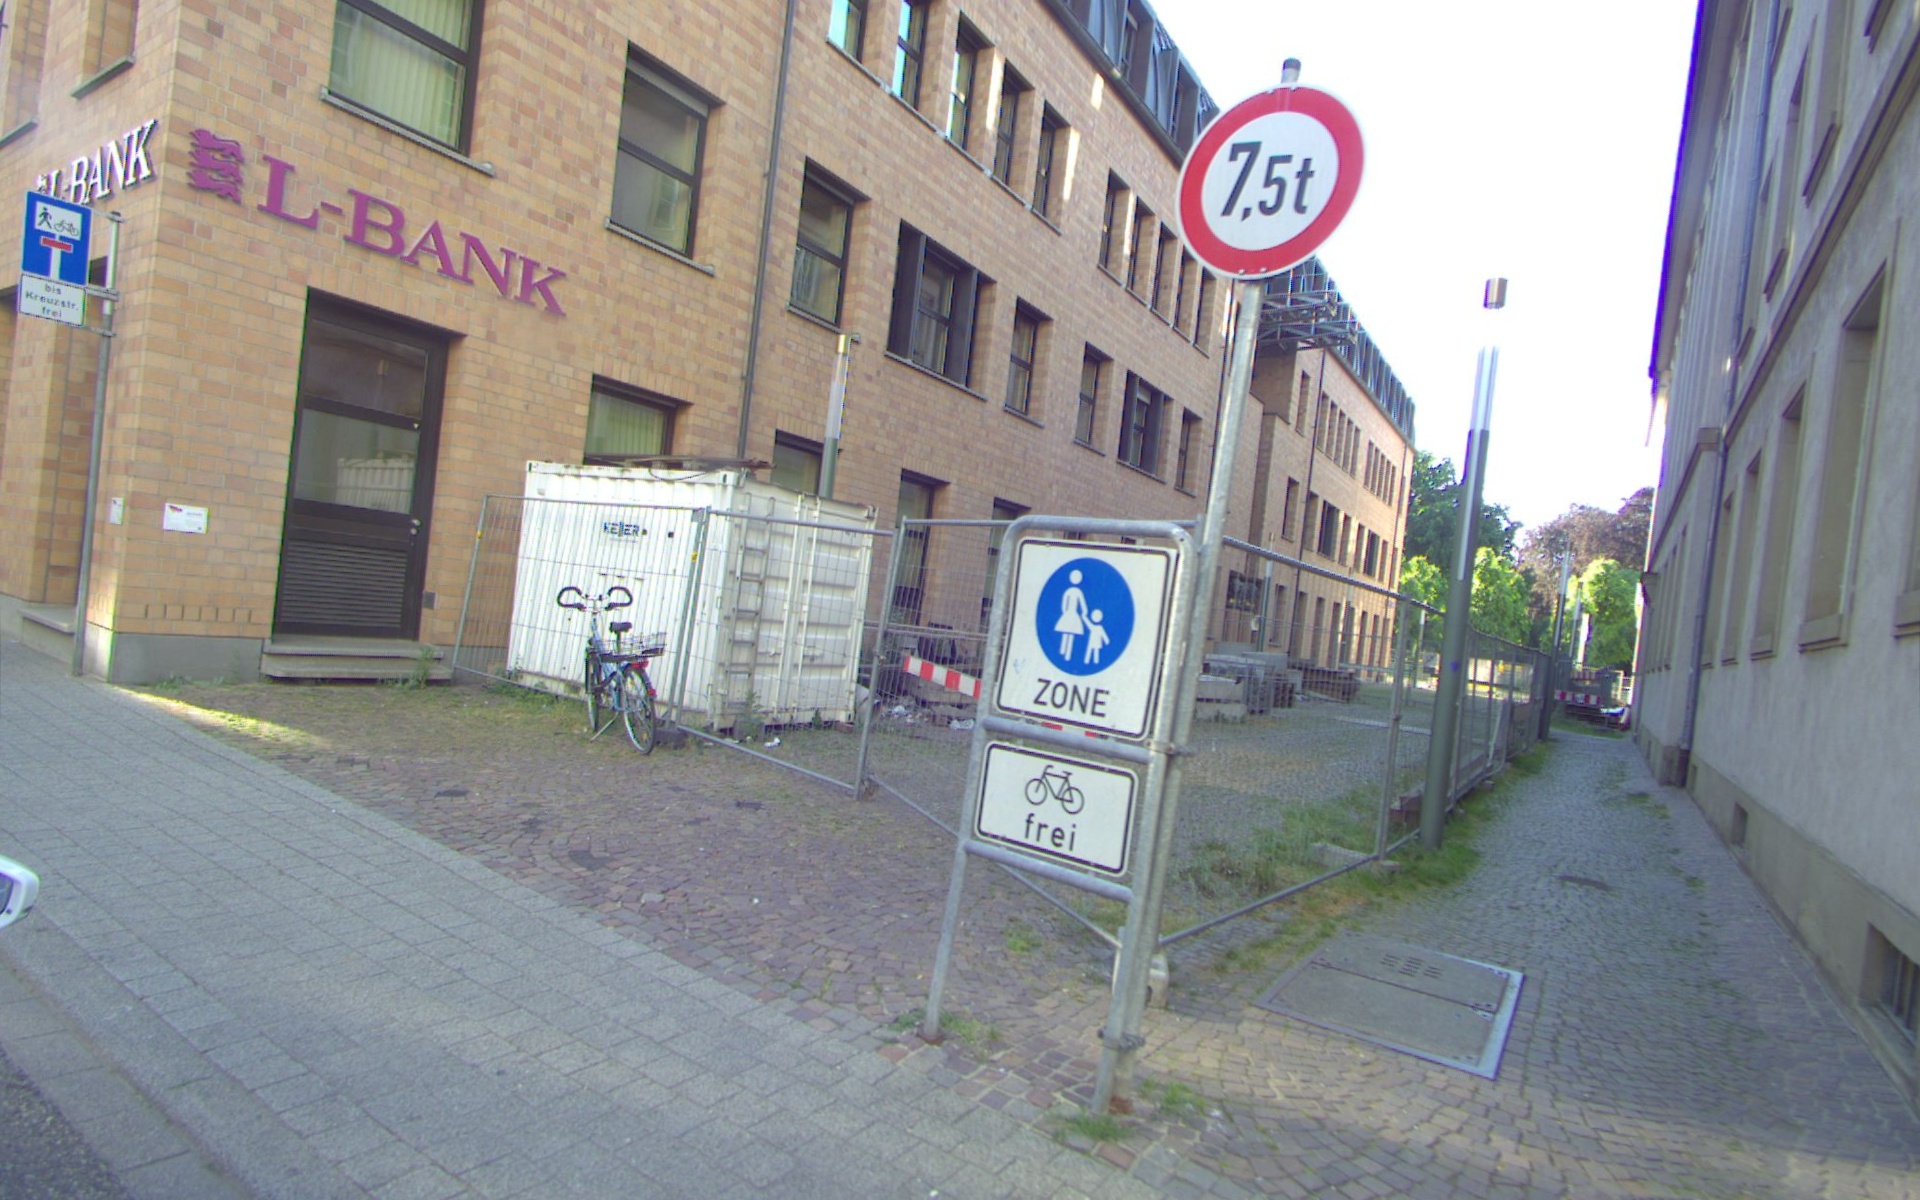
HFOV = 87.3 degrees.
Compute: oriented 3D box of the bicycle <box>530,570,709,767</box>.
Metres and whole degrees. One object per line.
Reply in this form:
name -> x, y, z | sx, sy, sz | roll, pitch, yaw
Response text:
bicycle -> -2.754, 0.506, 8.050 | 1.625, 1.333, 0.549 | 7, 1, 43
